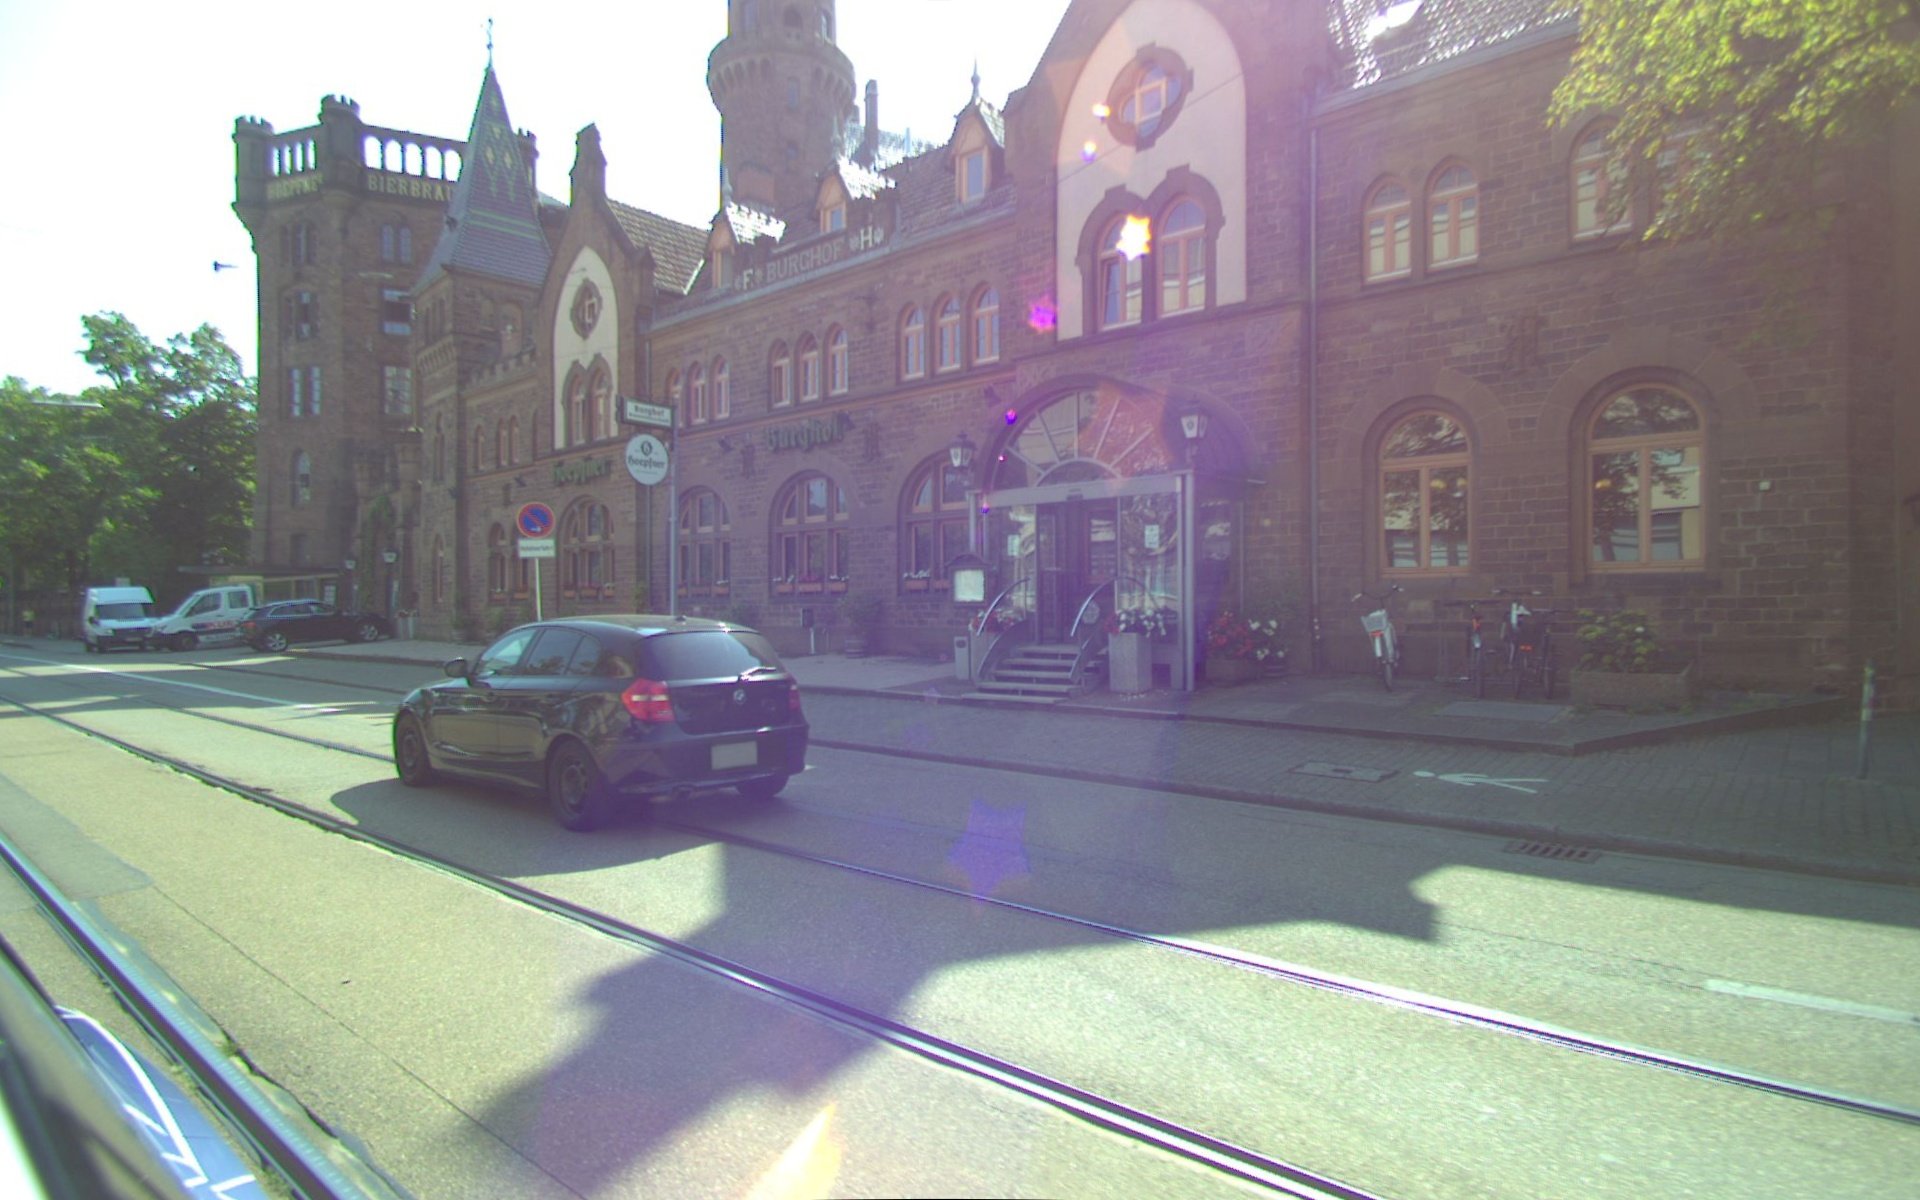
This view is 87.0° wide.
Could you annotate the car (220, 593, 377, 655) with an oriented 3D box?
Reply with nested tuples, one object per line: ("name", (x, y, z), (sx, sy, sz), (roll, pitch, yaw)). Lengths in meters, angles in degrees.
("car", (-22.749, 0.786, 34.919), (1.999, 1.756, 4.094), (-1, 3, 41))

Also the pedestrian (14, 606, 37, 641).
("pedestrian", (-54.857, 1.390, 59.397), (0.982, 2.029, 0.856), (-1, 0, 38))

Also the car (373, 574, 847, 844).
("car", (-2.931, 0.672, 7.961), (4.203, 1.583, 1.664), (-1, -1, 41))

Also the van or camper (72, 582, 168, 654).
("van or camper", (-33.577, 0.700, 40.402), (5.953, 2.695, 2.090), (-1, 0, 42))

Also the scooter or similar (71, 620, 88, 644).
("scooter or similar", (-44.097, 1.604, 50.686), (0.334, 1.187, 1.182), (-1, 0, -24))

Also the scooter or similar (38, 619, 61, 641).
("scooter or similar", (-48.520, 1.598, 53.925), (1.309, 1.187, 0.418), (-1, 0, 25))

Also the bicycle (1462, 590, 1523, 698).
("bicycle", (6.166, 0.477, 11.694), (0.399, 1.101, 1.438), (-1, 3, 36))

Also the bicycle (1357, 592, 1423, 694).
("bicycle", (5.277, 0.494, 12.383), (0.399, 1.101, 1.438), (-1, 3, 36))

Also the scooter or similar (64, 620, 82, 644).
("scooter or similar", (-45.043, 1.622, 51.380), (0.334, 1.187, 1.182), (-1, 0, -24))

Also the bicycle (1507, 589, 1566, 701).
("bicycle", (6.509, 0.470, 11.403), (0.399, 1.101, 1.438), (-1, 3, 36))

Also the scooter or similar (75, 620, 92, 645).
("scooter or similar", (-43.246, 1.587, 49.937), (0.334, 1.187, 1.182), (-1, 0, -24))

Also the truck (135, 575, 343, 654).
("truck", (-28.003, 0.503, 39.513), (2.132, 2.557, 6.250), (-3, 1, 45))
